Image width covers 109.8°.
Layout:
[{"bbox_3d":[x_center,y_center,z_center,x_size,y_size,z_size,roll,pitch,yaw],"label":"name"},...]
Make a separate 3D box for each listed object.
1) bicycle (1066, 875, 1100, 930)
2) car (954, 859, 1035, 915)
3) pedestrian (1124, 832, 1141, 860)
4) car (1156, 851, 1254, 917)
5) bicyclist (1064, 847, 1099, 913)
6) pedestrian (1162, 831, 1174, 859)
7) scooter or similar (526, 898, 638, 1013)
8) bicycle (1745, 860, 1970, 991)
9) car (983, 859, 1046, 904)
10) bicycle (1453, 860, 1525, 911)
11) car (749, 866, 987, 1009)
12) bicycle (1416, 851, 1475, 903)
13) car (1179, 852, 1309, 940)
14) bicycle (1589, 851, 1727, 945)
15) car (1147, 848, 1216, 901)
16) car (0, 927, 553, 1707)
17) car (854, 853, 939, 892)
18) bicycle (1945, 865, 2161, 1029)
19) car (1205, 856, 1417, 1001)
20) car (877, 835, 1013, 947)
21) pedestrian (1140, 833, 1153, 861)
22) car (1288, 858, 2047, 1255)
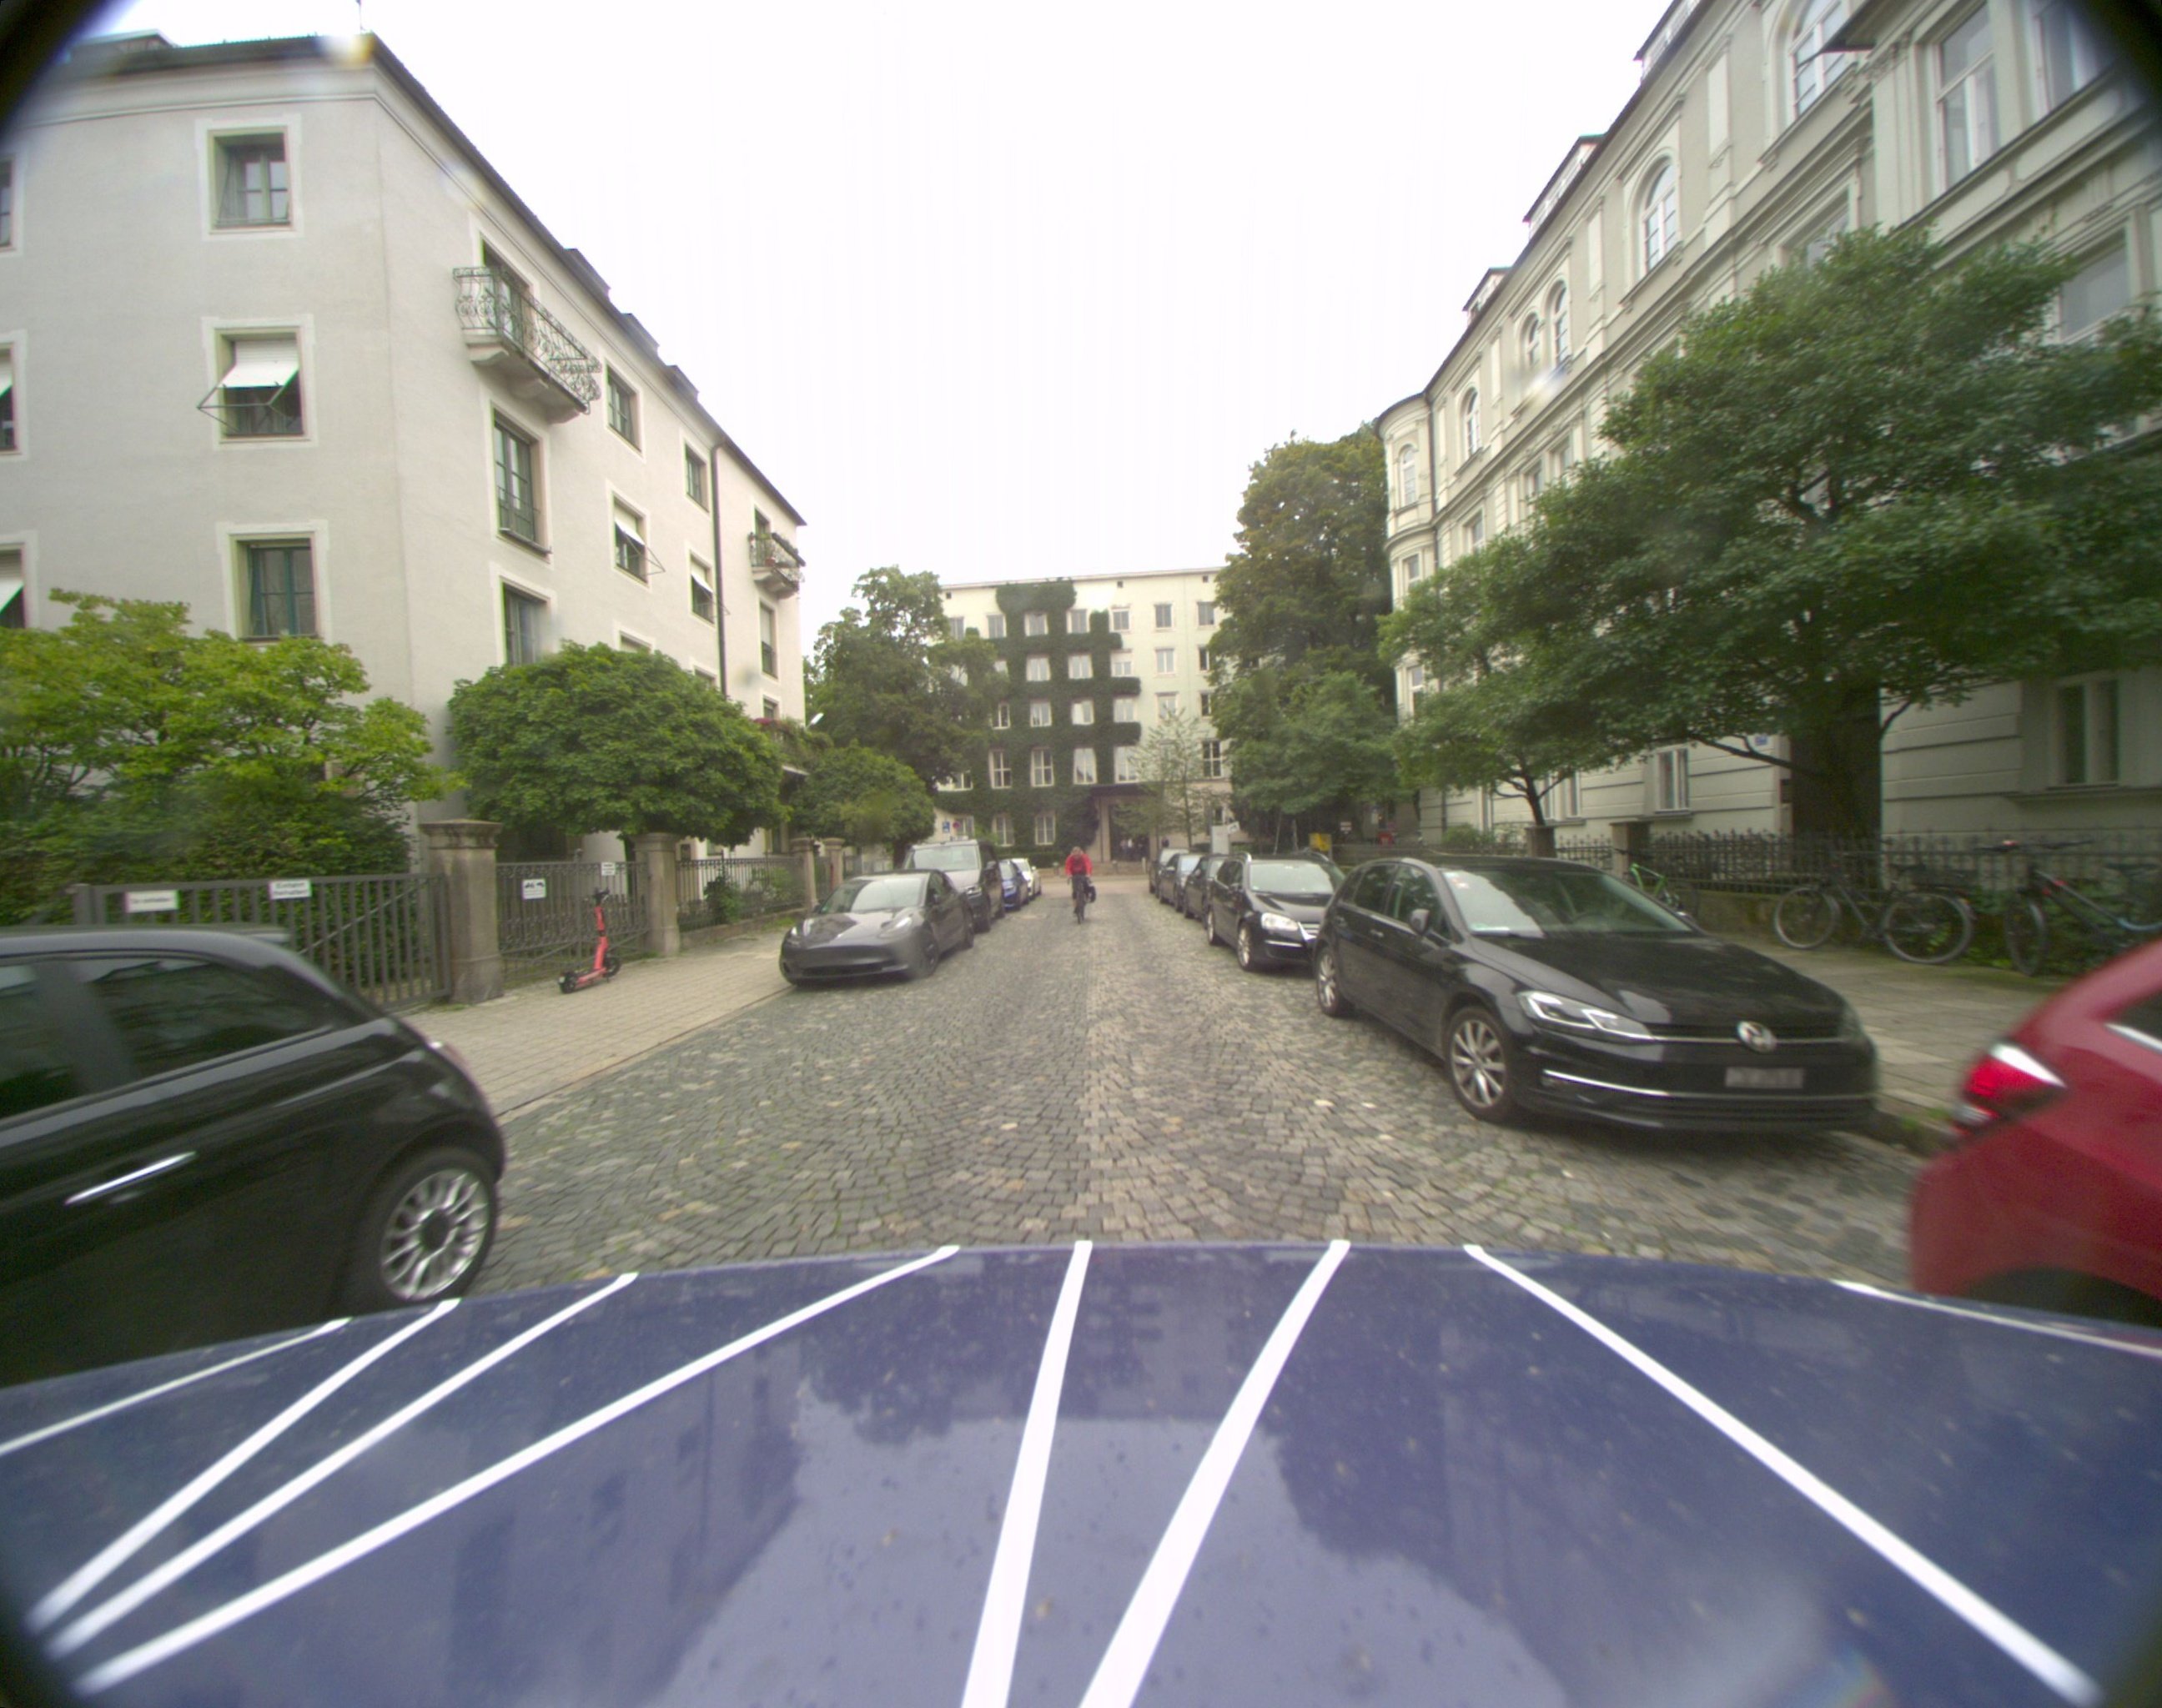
[{"bbox_3d":[0.056,1.034,16.669,0.636,1.021,1.955,-3,1,1],"label":"bicycle"},{"bbox_3d":[-2.408,0.875,22.108,1.744,1.367,4.181,-1,1,1],"label":"car"},{"bbox_3d":[3.632,-0.547,53.559,0.703,1.905,0.861,-5,2,-30],"label":"pedestrian"},{"bbox_3d":[3.153,0.710,20.175,1.744,1.490,4.280,-1,1,-2],"label":"car"},{"bbox_3d":[0.011,0.549,16.321,0.648,1.350,0.656,-4,1,1],"label":"bicyclist"},{"bbox_3d":[6.129,-0.667,53.518,0.665,1.905,0.863,-4,2,10],"label":"pedestrian"},{"bbox_3d":[-6.243,1.224,9.580,0.444,1.209,1.470,3,1,-2],"label":"scooter or similar"},{"bbox_3d":[7.776,0.653,7.738,0.434,1.092,1.790,-6,1,2],"label":"bicycle"},{"bbox_3d":[-2.289,0.906,27.174,1.744,1.367,4.281,-1,1,1],"label":"car"},{"bbox_3d":[8.081,0.595,15.136,0.439,0.868,1.790,-6,1,2],"label":"bicycle"},{"bbox_3d":[-2.841,1.041,11.351,1.942,1.457,4.532,-4,1,3],"label":"car"},{"bbox_3d":[8.087,0.483,16.928,0.464,1.045,1.695,-6,1,2],"label":"bicycle"},{"bbox_3d":[3.190,0.749,15.676,1.744,1.490,4.133,-1,1,0],"label":"car"},{"bbox_3d":[7.921,0.558,10.540,0.510,1.118,1.790,-6,1,2],"label":"bicycle"},{"bbox_3d":[3.281,0.615,25.618,1.744,1.572,4.281,-1,1,0],"label":"car"},{"bbox_3d":[-3.133,1.142,1.329,1.671,1.499,3.685,-5,1,1],"label":"car"},{"bbox_3d":[-9.787,0.966,40.588,3.997,1.671,1.899,-4,1,-1],"label":"car"},{"bbox_3d":[7.656,0.655,5.629,0.474,1.045,1.759,-6,1,2],"label":"bicycle"},{"bbox_3d":[2.883,0.831,10.577,1.814,1.490,4.510,-1,1,3],"label":"car"},{"bbox_3d":[-2.812,0.680,16.951,1.999,1.958,4.965,-5,1,0],"label":"car"},{"bbox_3d":[4.621,-0.483,53.617,0.701,1.905,0.863,-4,1,4],"label":"pedestrian"},{"bbox_3d":[3.022,0.848,5.430,1.822,1.500,4.641,1,1,0],"label":"car"}]
